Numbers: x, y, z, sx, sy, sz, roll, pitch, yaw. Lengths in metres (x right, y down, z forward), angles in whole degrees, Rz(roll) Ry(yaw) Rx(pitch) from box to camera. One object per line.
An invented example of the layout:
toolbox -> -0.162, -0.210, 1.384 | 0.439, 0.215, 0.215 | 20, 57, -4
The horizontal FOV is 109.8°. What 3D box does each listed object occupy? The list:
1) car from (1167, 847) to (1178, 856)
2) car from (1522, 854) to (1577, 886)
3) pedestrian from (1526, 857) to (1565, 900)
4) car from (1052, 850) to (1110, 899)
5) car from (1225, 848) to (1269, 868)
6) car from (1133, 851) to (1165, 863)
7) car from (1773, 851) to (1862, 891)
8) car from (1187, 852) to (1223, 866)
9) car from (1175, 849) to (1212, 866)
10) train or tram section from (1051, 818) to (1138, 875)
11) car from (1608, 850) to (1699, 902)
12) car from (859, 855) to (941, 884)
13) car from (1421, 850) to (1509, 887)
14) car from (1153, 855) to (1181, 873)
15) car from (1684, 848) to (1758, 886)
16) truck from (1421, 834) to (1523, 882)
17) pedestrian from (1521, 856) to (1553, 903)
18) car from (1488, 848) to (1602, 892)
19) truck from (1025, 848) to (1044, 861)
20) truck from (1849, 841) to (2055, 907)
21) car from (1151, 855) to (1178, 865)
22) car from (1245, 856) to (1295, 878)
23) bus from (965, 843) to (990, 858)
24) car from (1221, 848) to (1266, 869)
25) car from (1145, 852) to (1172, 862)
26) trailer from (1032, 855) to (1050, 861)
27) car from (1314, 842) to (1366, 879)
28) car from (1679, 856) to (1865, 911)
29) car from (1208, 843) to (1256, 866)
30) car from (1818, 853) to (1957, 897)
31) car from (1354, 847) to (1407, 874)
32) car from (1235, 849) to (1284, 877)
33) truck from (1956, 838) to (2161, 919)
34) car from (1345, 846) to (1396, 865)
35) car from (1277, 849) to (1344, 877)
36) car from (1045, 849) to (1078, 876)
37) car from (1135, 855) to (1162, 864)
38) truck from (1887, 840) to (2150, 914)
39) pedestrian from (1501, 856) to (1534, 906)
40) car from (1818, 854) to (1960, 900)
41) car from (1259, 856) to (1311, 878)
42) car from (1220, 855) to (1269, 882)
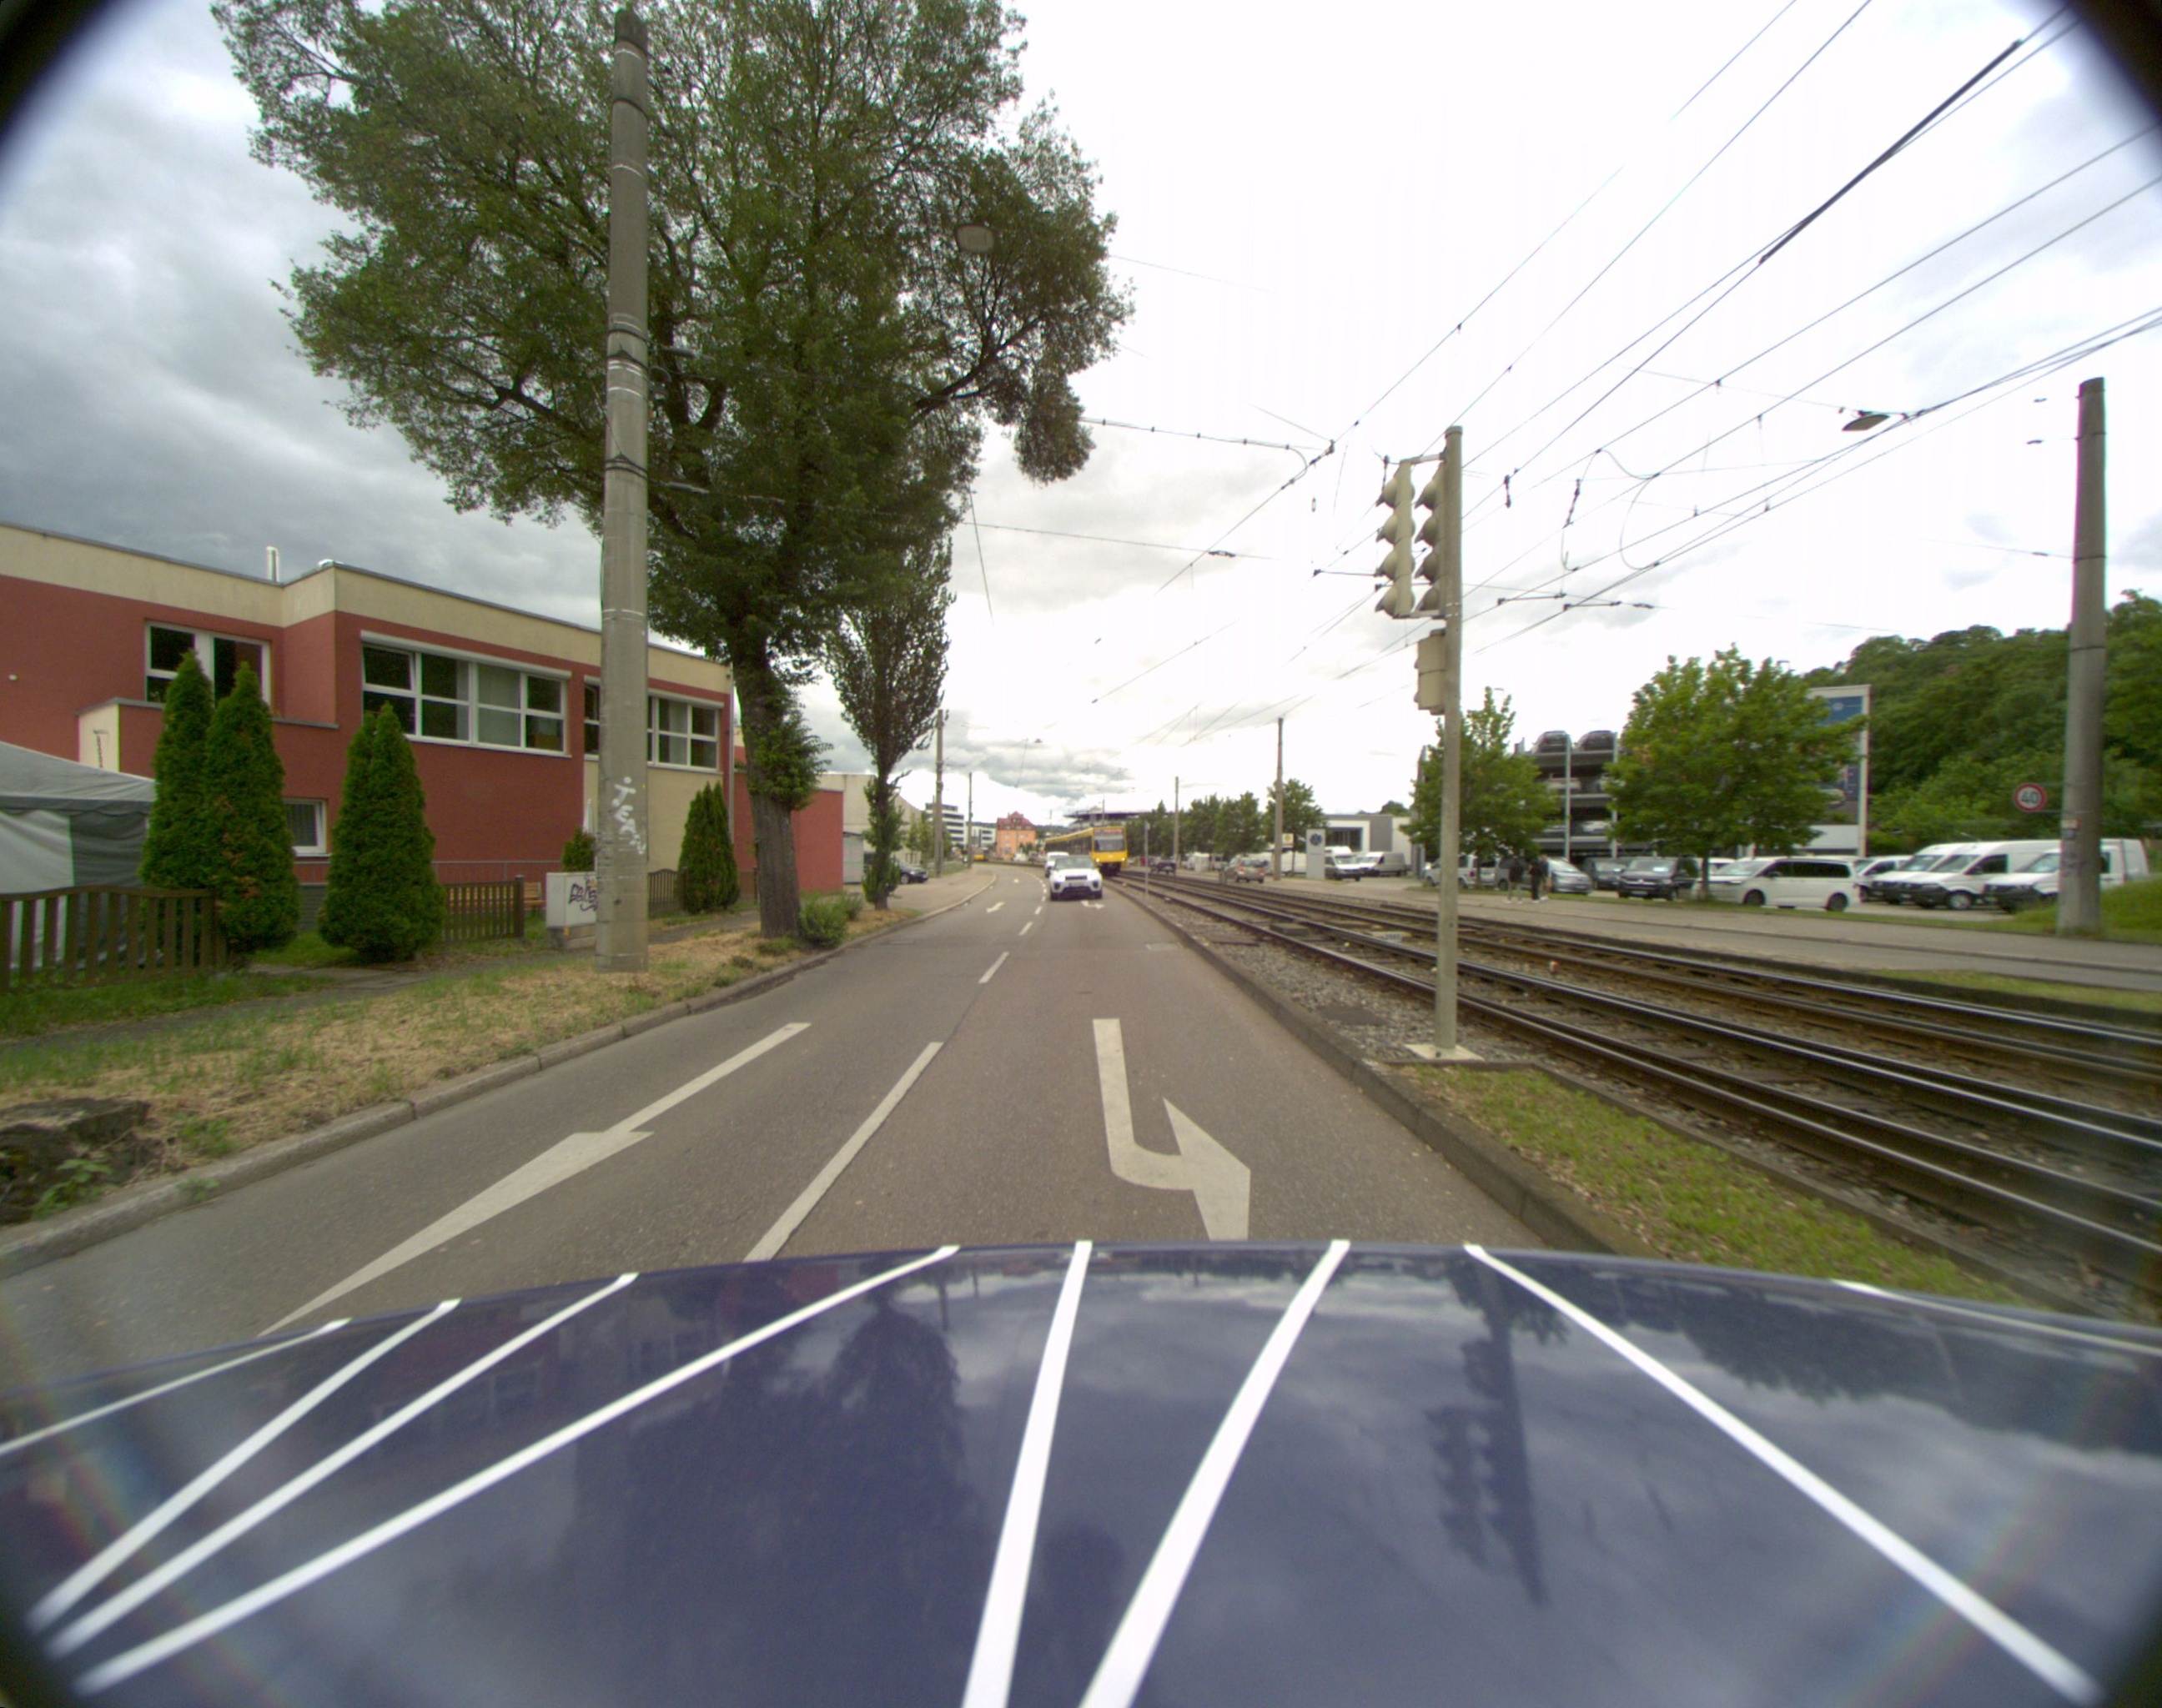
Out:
car -> 21.672, -0.599, 179.351 | 1.996, 2.002, 4.004 | 0, 0, 14
car -> 28.416, 0.910, 46.198 | 1.995, 1.820, 4.474 | 1, 0, 21
pedestrian -> 18.076, 0.937, 29.579 | 0.720, 1.646, 1.041 | -2, 1, -13
car -> -0.073, 0.718, 28.910 | 1.999, 1.718, 3.999 | -1, 0, -3
car -> 18.652, 0.470, 85.435 | 4.380, 2.160, 2.002 | 0, 0, -10
car -> 12.361, 0.538, 138.089 | 5.704, 1.996, 2.146 | 1, 0, 12
car -> 39.312, 0.901, 40.558 | 4.284, 2.001, 1.996 | -1, -1, -25
car -> 16.236, 0.622, 99.626 | 4.378, 1.834, 2.003 | 0, 0, -5
car -> 15.039, 0.446, 101.795 | 4.510, 2.298, 2.124 | 0, 0, -5
train or tram section -> 0.659, -0.625, 61.741 | 3.400, 3.984, 16.924 | -2, 1, -11
car -> 24.195, 0.876, 32.035 | 5.083, 2.002, 2.160 | 0, 0, -43
car -> -10.209, 0.828, 42.854 | 4.223, 1.434, 1.766 | 2, 1, 22
car -> 21.866, 0.807, 43.522 | 2.000, 2.002, 4.915 | 0, 0, -8
car -> 8.030, 0.921, 71.183 | 1.692, 1.523, 4.253 | 3, 0, -6
car -> 35.805, 0.669, 42.633 | 1.995, 2.001, 4.475 | 1, 0, 24
truck -> 26.123, 0.236, 50.996 | 5.924, 3.067, 2.123 | 0, 0, 23
pedestrian -> 16.996, 0.928, 28.356 | 0.630, 1.703, 0.855 | -2, 0, -3
car -> 22.676, 0.723, 37.411 | 2.000, 2.002, 5.126 | 0, 0, -7
truck -> -11.815, 0.135, 192.552 | 3.119, 2.904, 8.950 | 2, -1, -14
truck -> 36.065, 0.772, 31.685 | 5.061, 2.573, 2.472 | 0, 0, 19
car -> 13.233, 0.982, 120.374 | 3.999, 1.608, 1.999 | 0, 0, -5
car -> 18.798, 1.292, 75.528 | 4.380, 2.093, 2.002 | 0, 0, -10
bus -> -28.721, -0.996, 210.205 | 3.566, 3.930, 10.468 | -2, 2, -27
car -> 17.682, 0.490, 82.689 | 4.380, 2.160, 2.002 | 0, 0, -10
car -> 13.000, 0.528, 127.097 | 4.190, 1.608, 2.062 | 0, 0, -5
trailer -> -9.855, 0.890, 184.773 | 3.061, 1.270, 6.998 | 2, -1, -14
car -> 22.005, 0.497, 64.874 | 2.114, 3.002, 5.934 | 0, 0, -4
car -> 24.941, 1.024, 27.524 | 5.071, 1.877, 2.165 | 0, 0, -6
car -> 17.422, 0.062, 87.910 | 4.983, 2.683, 2.113 | 0, 0, -10
car -> 39.000, 0.977, 36.862 | 4.259, 2.002, 1.983 | 0, 0, 11
car -> 29.976, 0.622, 75.906 | 5.964, 2.587, 1.999 | 0, 0, -35
car -> 18.210, 0.956, 77.563 | 4.380, 2.802, 2.002 | 0, 0, -10
truck -> 33.868, 0.779, 25.667 | 5.059, 2.573, 2.473 | 0, 0, 25
car -> 32.184, 0.185, 84.486 | 4.857, 2.002, 1.999 | 0, 0, -4
car -> 21.135, 0.825, 70.147 | 5.489, 2.587, 2.245 | 0, 0, -6
car -> -1.465, 0.573, 55.195 | 2.000, 1.881, 4.624 | 0, 0, -6
car -> 11.856, 0.944, 133.156 | 4.349, 1.608, 2.153 | 0, 0, -5
truck -> 34.896, 0.779, 28.590 | 5.765, 2.573, 2.472 | 1, 0, 20
pedestrian -> 16.237, 0.982, 28.277 | 0.678, 1.802, 0.855 | -2, 0, -3
car -> 36.511, 1.029, 34.453 | 3.993, 2.002, 2.002 | 0, 0, 11
car -> 19.591, 1.223, 72.940 | 4.380, 2.093, 2.002 | 0, 0, -10
car -> 10.377, 0.907, 48.546 | 1.896, 1.523, 4.254 | 3, 0, -4
